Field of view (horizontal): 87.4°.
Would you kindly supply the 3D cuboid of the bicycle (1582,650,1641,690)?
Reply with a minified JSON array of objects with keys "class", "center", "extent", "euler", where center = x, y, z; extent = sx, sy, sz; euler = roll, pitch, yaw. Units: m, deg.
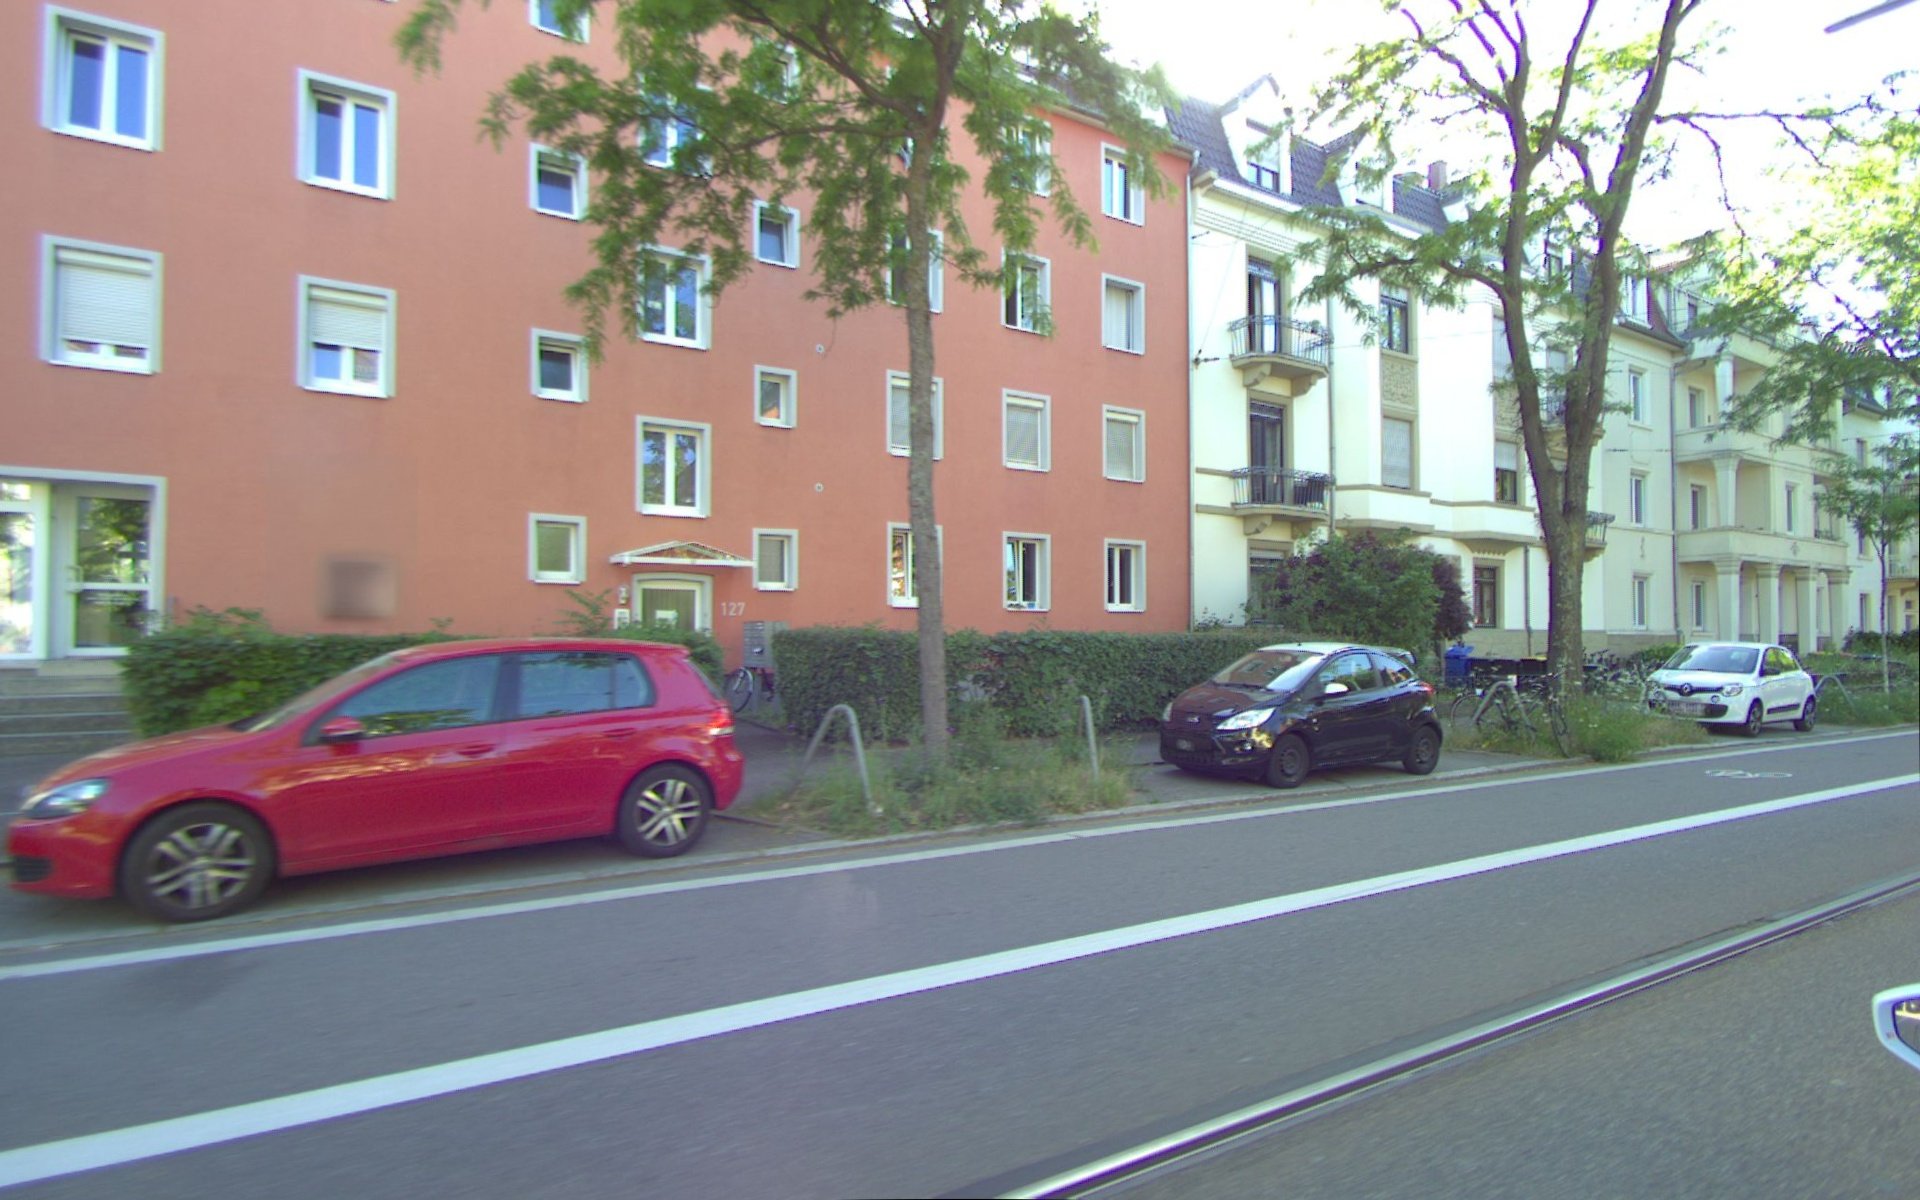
[{"class":"bicycle","center":[18.520,1.982,28.608],"extent":[0.547,1.010,1.863],"euler":[0,0,2]}]

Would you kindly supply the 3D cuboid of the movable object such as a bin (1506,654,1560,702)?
[{"class":"movable object such as a bin","center":[13.123,1.771,23.000],"extent":[0.886,1.067,0.733],"euler":[2,-2,-32]}]

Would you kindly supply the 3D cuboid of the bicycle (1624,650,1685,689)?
[{"class":"bicycle","center":[20.151,2.006,29.193],"extent":[0.547,1.010,1.863],"euler":[0,0,2]}]

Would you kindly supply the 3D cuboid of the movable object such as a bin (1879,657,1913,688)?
[{"class":"movable object such as a bin","center":[29.971,2.308,32.154],"extent":[0.732,0.934,0.624],"euler":[2,-1,-32]}]

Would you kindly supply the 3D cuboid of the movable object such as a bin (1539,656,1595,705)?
[{"class":"movable object such as a bin","center":[13.503,1.777,22.352],"extent":[0.886,1.055,0.733],"euler":[2,-2,-32]}]

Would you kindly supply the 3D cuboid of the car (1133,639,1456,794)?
[{"class":"car","center":[3.841,1.197,11.361],"extent":[3.628,1.473,1.545],"euler":[2,-1,-33]}]

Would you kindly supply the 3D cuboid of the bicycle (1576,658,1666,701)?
[{"class":"bicycle","center":[16.576,1.987,25.230],"extent":[1.829,1.009,0.557],"euler":[-1,-2,30]}]

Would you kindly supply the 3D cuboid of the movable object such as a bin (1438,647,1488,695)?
[{"class":"movable object such as a bin","center":[12.235,1.708,24.425],"extent":[0.886,1.128,0.733],"euler":[2,-2,-32]}]

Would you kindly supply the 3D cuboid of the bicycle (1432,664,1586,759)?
[{"class":"bicycle","center":[7.352,1.458,13.545],"extent":[0.536,1.136,1.803],"euler":[1,-2,-31]}]

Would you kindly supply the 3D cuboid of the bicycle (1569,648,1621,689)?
[{"class":"bicycle","center":[17.735,1.893,28.098],"extent":[0.547,1.010,1.863],"euler":[0,0,9]}]

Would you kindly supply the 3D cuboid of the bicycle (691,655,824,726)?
[{"class":"bicycle","center":[-2.904,1.285,14.481],"extent":[1.798,0.945,0.503],"euler":[2,0,-31]}]

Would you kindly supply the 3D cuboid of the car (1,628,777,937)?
[{"class":"car","center":[-3.418,0.954,6.690],"extent":[4.056,1.473,1.563],"euler":[2,-1,-35]}]

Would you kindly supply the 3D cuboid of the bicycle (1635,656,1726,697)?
[{"class":"bicycle","center":[18.670,1.975,26.058],"extent":[1.825,1.009,0.559],"euler":[0,-2,15]}]

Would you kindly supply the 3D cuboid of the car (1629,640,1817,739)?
[{"class":"car","center":[13.665,1.520,17.946],"extent":[3.651,1.555,1.615],"euler":[2,-1,-34]}]

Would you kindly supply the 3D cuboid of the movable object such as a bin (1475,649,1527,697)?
[{"class":"movable object such as a bin","center":[12.726,1.714,23.650],"extent":[0.886,1.099,0.733],"euler":[2,-2,-32]}]
